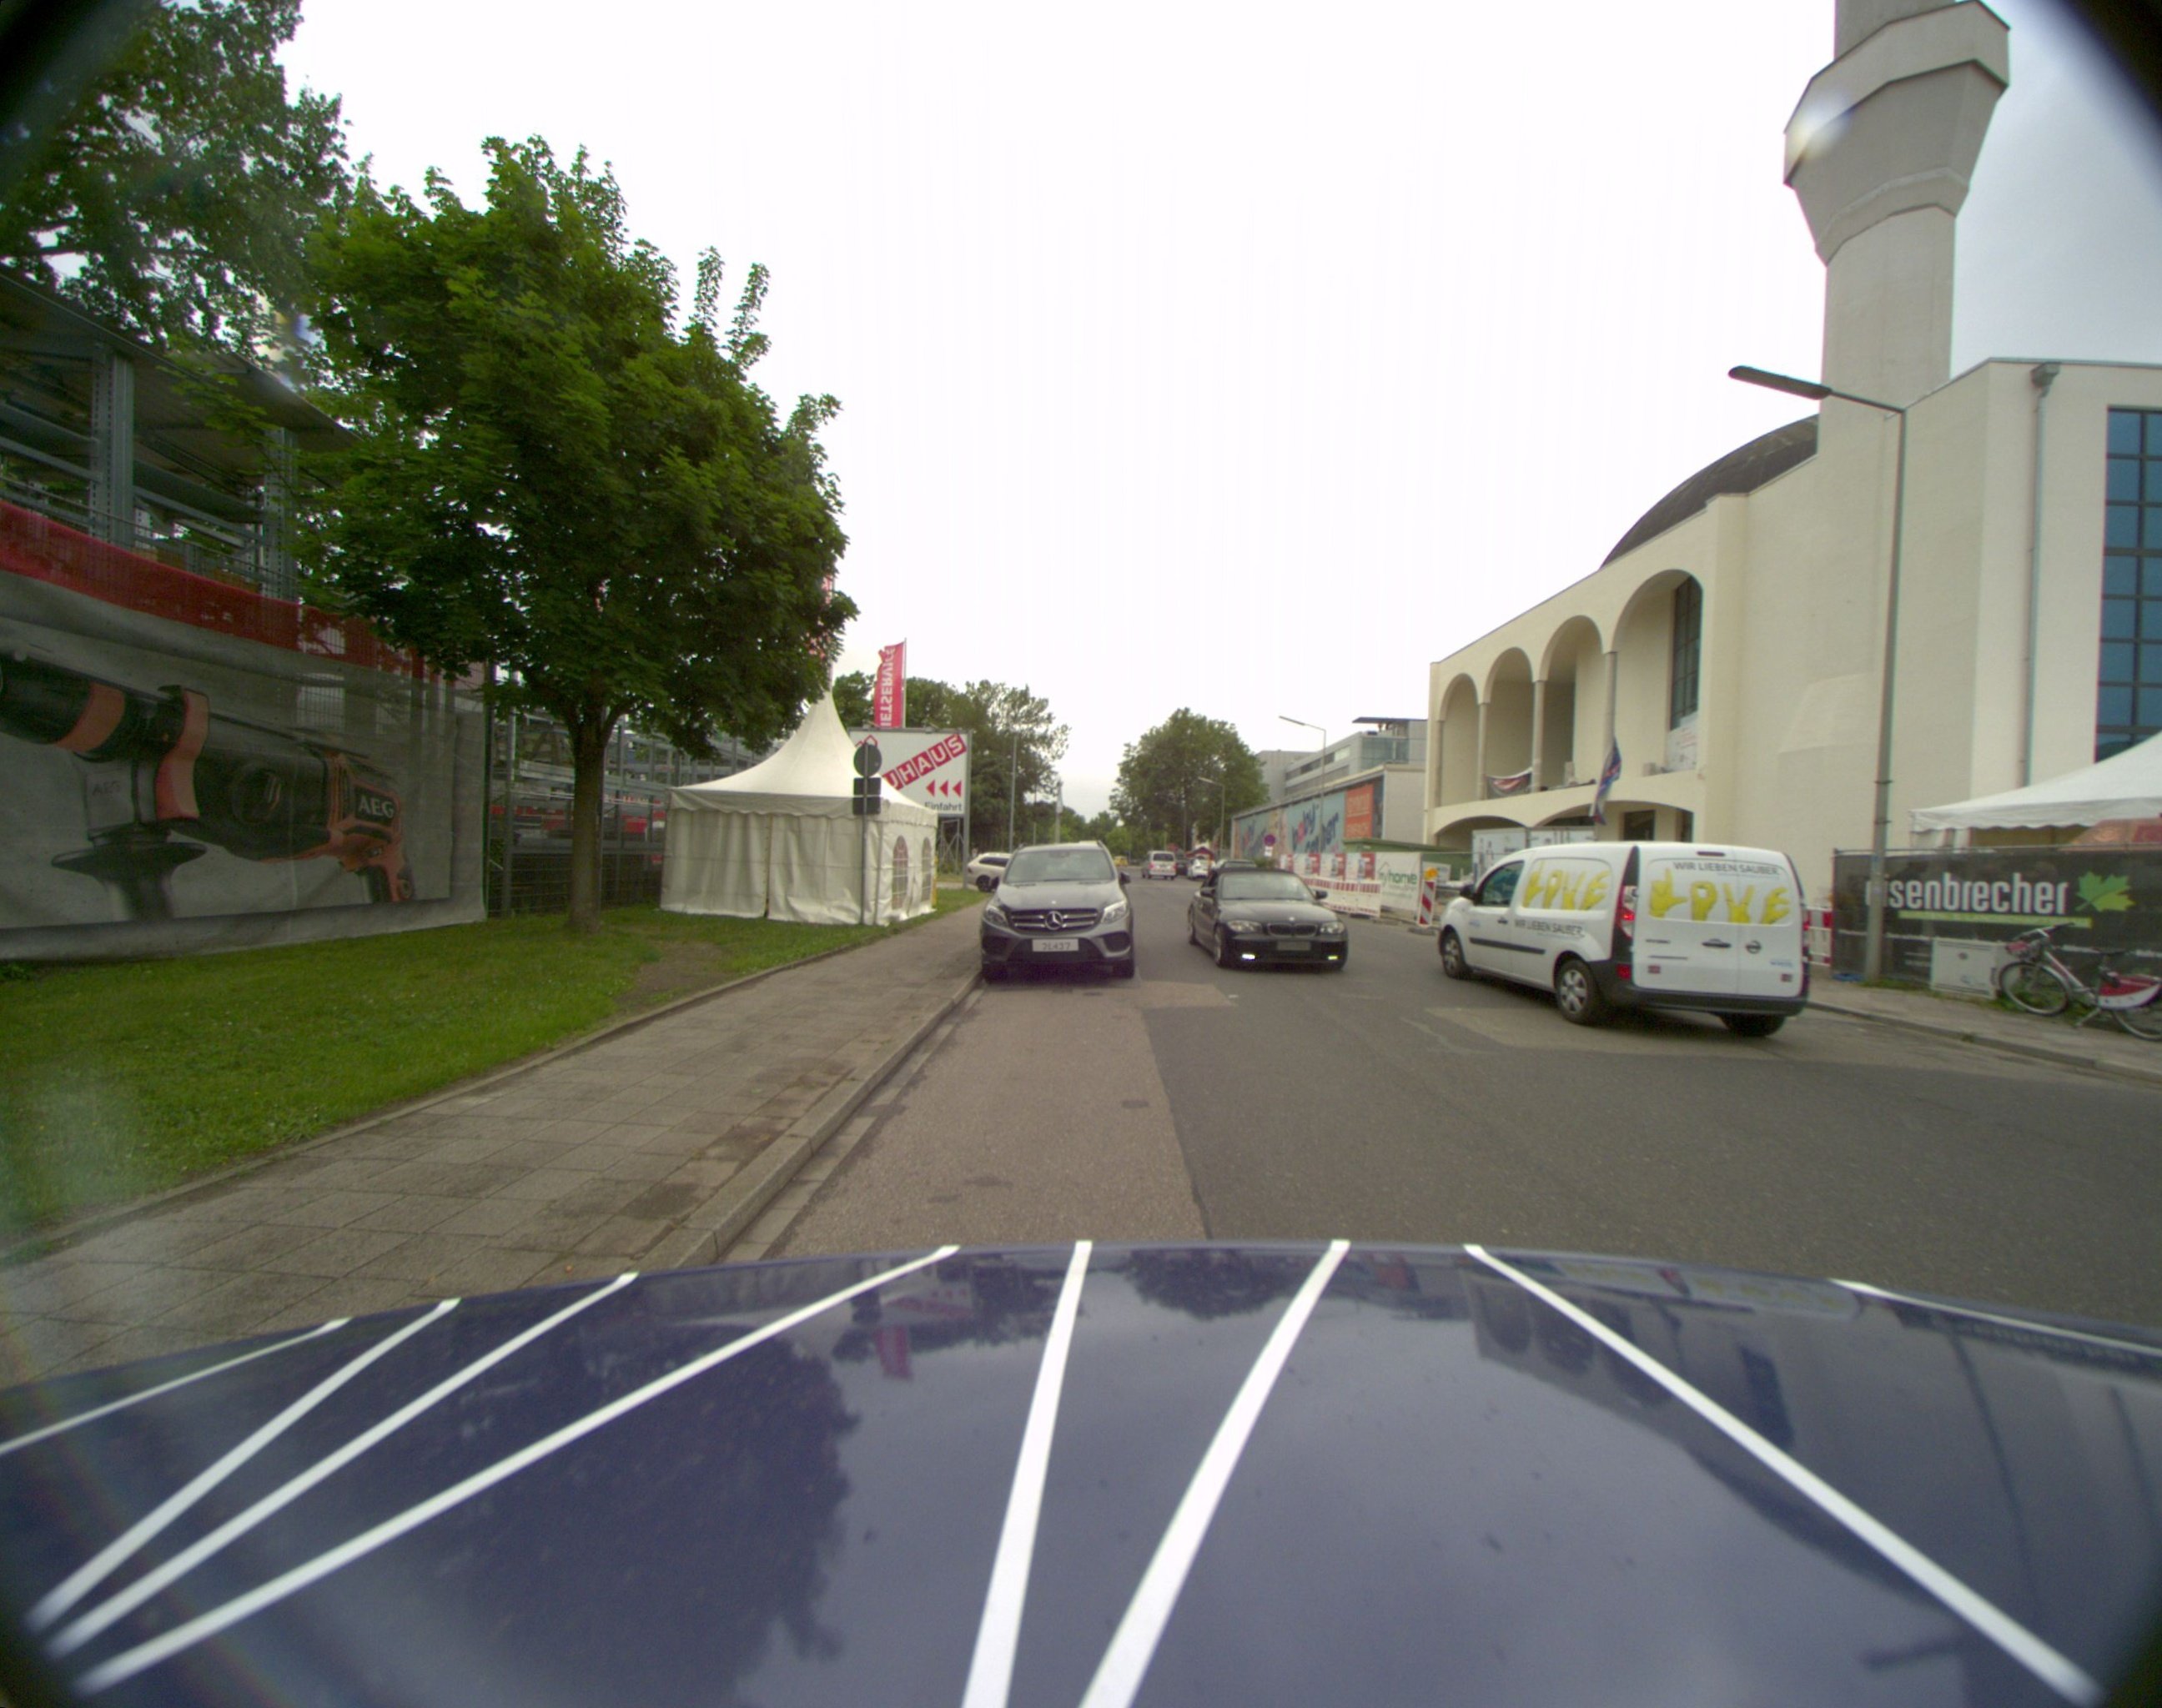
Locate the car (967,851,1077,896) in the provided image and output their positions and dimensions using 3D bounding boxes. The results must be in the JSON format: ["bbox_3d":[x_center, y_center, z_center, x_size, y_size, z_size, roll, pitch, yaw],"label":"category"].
[{"bbox_3d":[-2.205,0.689,28.378,3.681,1.575,1.779,1,1,20],"label":"car"}]

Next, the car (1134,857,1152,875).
[{"bbox_3d":[7.708,1.475,94.761,1.998,2.002,4.000,0,1,2],"label":"car"}]

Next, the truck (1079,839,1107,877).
[{"bbox_3d":[0.855,0.259,53.585,1.853,2.597,4.000,-1,0,1],"label":"truck"}]

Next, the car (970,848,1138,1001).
[{"bbox_3d":[-0.234,0.811,10.995,1.913,1.731,4.480,-1,0,2],"label":"car"}]

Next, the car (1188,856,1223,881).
[{"bbox_3d":[9.096,1.031,56.001,1.929,1.565,4.150,5,0,2],"label":"car"}]

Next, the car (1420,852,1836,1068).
[{"bbox_3d":[5.527,0.889,8.470,1.693,1.750,4.135,2,0,2],"label":"car"}]

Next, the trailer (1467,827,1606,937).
[{"bbox_3d":[11.903,0.680,20.099,1.802,2.591,3.192,2,0,4],"label":"trailer"}]

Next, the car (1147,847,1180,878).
[{"bbox_3d":[5.877,0.552,54.655,1.931,2.002,4.955,2,1,2],"label":"car"}]

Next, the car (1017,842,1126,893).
[{"bbox_3d":[-0.388,0.545,32.188,4.380,1.797,1.800,4,1,0],"label":"car"}]

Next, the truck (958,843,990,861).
[{"bbox_3d":[-14.908,-0.247,106.143,1.994,2.383,4.009,2,1,41],"label":"truck"}]

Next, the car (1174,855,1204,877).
[{"bbox_3d":[8.905,0.936,62.832,1.929,1.565,4.150,5,0,2],"label":"car"}]

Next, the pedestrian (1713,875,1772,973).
[{"bbox_3d":[11.216,1.168,12.895,0.540,1.602,0.491,0,1,7],"label":"pedestrian"}]

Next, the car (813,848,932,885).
[{"bbox_3d":[-8.779,0.496,32.242,4.490,1.420,1.939,1,2,3],"label":"car"}]

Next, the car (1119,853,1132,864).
[{"bbox_3d":[7.286,0.731,124.233,1.929,1.565,4.000,3,0,2],"label":"car"}]

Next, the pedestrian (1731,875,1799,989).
[{"bbox_3d":[10.731,1.188,11.921,0.689,1.707,0.694,0,-2,-45],"label":"pedestrian"}]

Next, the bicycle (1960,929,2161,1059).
[{"bbox_3d":[11.079,1.490,8.450,0.545,1.071,1.902,2,1,8],"label":"bicycle"}]

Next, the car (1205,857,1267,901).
[{"bbox_3d":[6.265,0.970,31.163,1.733,1.562,3.946,3,0,2],"label":"car"}]

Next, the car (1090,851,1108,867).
[{"bbox_3d":[2.038,0.560,85.747,1.998,1.739,4.000,2,0,1],"label":"car"}]

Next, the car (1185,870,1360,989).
[{"bbox_3d":[2.684,0.992,11.636,1.749,1.351,4.137,0,1,2],"label":"car"}]
